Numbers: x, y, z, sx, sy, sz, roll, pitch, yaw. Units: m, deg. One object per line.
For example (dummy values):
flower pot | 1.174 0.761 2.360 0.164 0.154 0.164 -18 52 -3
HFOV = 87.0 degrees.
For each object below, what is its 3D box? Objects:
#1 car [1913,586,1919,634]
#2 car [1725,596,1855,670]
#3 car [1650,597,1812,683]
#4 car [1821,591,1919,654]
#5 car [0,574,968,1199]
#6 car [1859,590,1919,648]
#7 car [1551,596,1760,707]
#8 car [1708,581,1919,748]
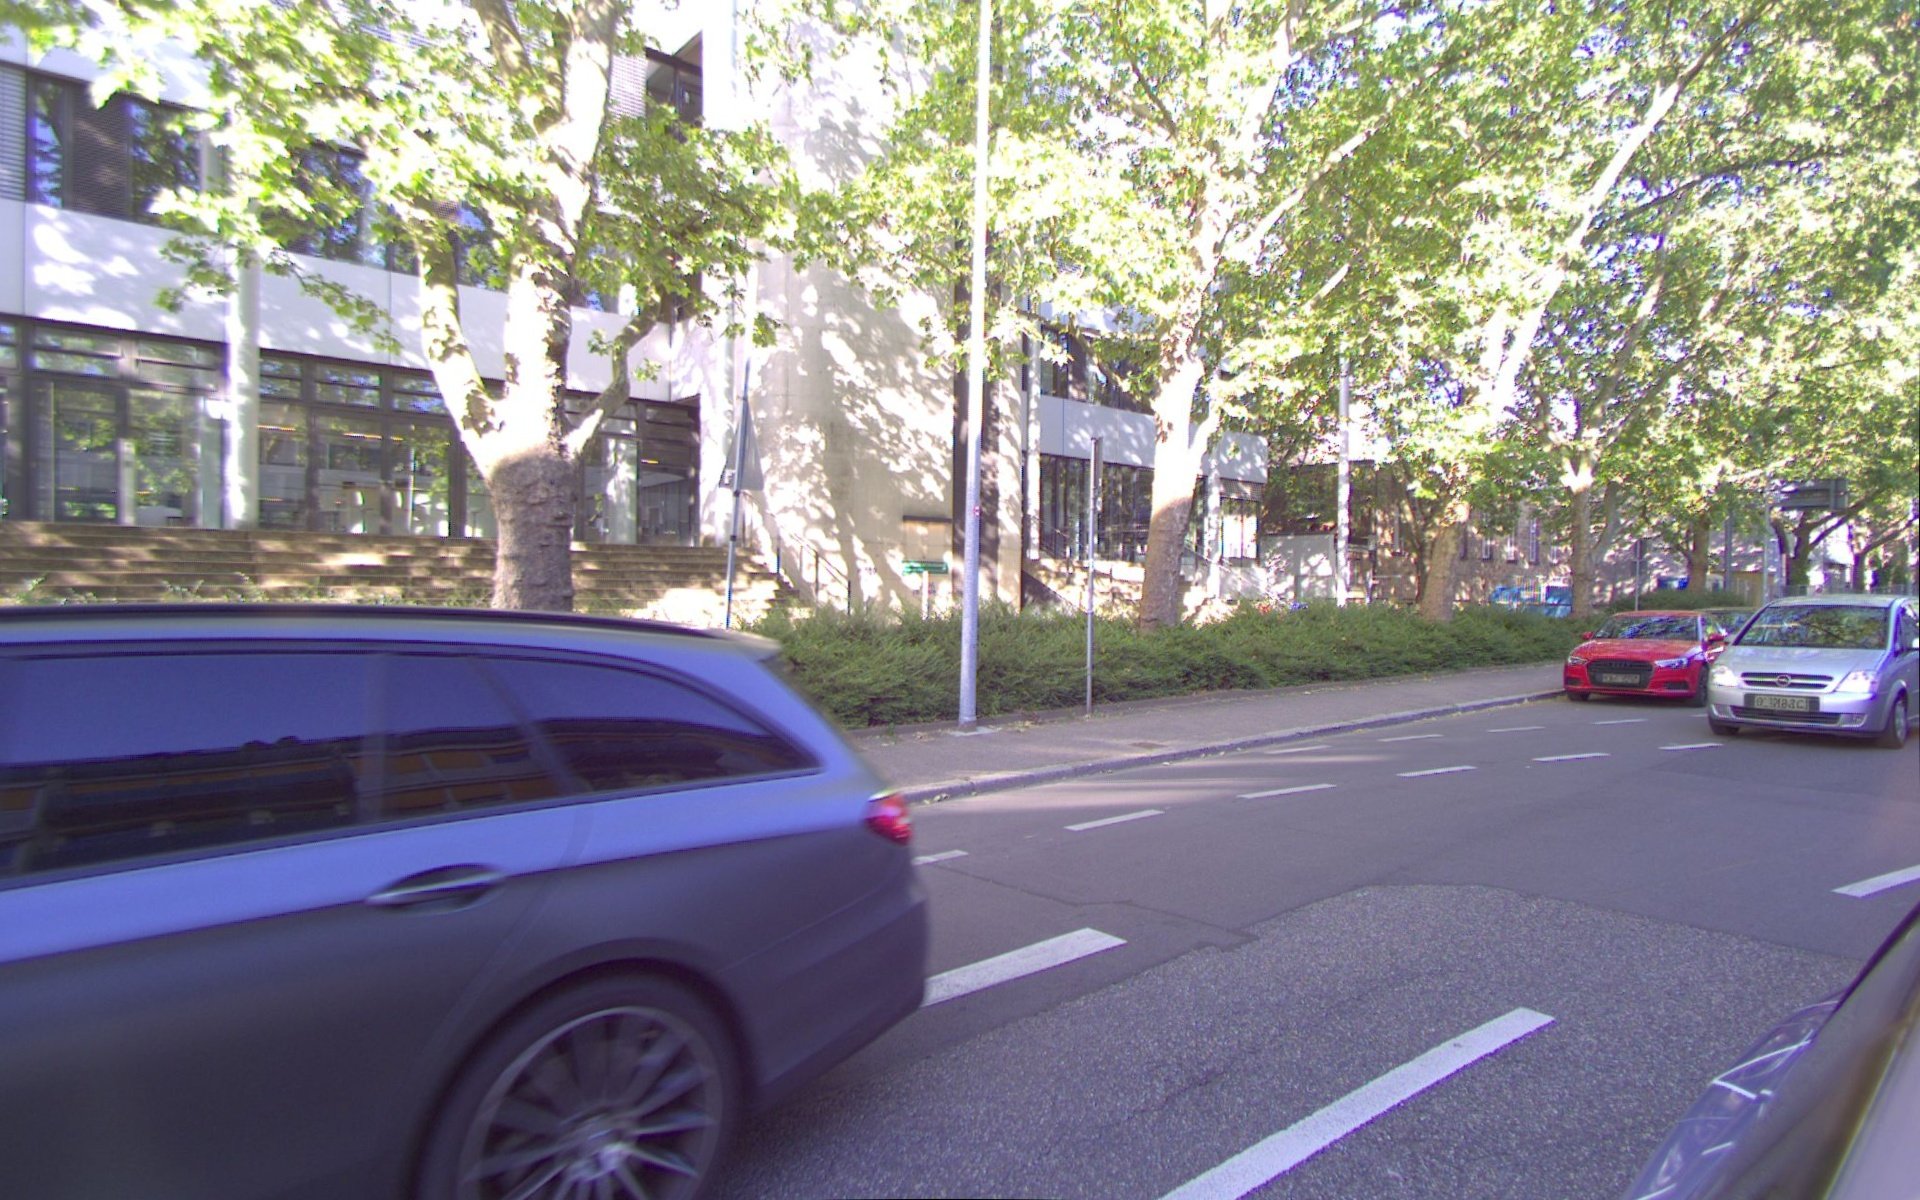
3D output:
car | 38.777 0.392 39.689 3.829 1.818 1.739 0 1 -42
car | 18.703 0.691 22.752 3.851 1.511 1.679 0 -1 -42
car | 14.839 0.707 19.407 4.022 1.472 1.739 0 -1 -42
car | 26.013 0.582 28.830 4.022 1.653 1.739 0 1 -42
car | -2.337 0.724 1.871 4.587 1.483 1.916 0 -1 -41
car | 29.669 0.556 31.864 3.840 1.708 1.633 0 1 -42
car | 11.172 0.733 16.155 4.071 1.548 1.827 0 -1 -42
car | 10.309 0.612 11.658 3.787 1.623 1.706 0 1 -37
